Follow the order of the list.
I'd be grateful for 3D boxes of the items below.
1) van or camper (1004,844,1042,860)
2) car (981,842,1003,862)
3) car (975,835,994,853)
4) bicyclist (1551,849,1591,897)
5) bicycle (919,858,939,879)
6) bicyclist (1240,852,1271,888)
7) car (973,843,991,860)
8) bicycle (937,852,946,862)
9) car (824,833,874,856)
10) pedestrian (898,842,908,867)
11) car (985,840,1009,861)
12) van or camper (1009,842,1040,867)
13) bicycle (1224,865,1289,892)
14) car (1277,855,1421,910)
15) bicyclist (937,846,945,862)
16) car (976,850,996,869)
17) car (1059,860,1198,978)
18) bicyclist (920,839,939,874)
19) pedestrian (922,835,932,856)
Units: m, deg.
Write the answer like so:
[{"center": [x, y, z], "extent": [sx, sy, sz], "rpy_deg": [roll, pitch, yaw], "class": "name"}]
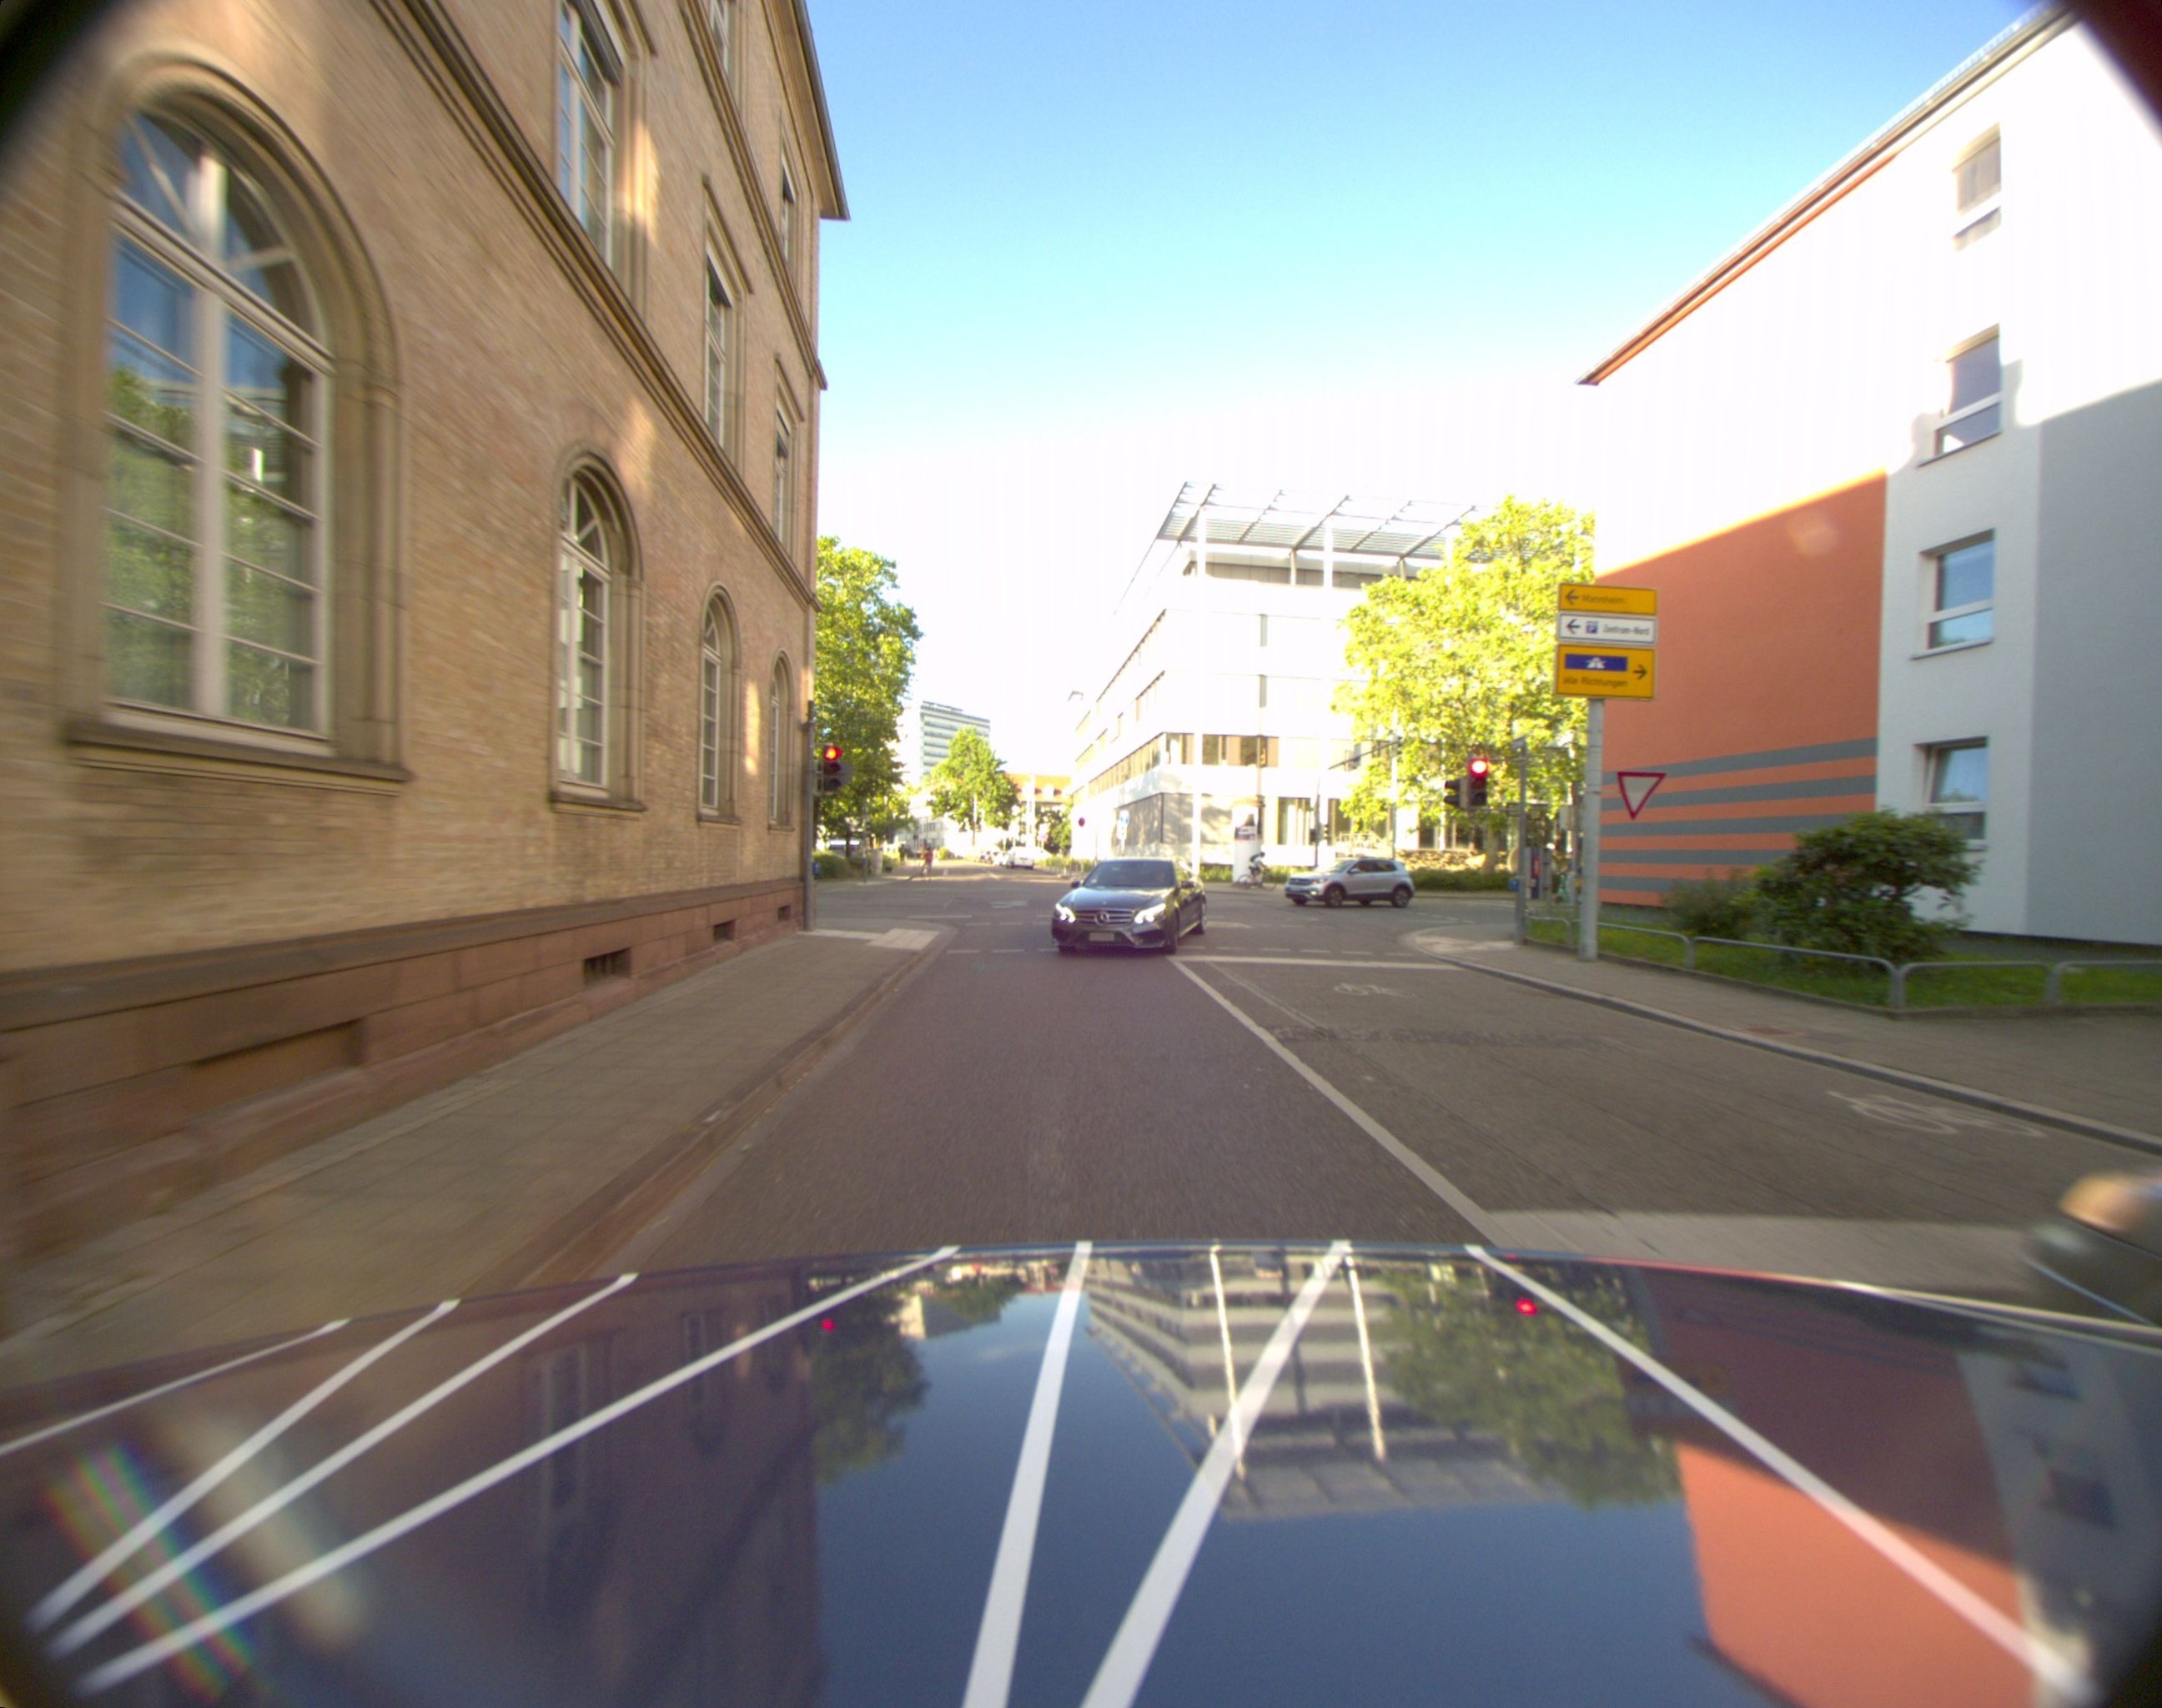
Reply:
[{"center": [-7.726, -0.298, 101.611], "extent": [4.737, 2.075, 1.996], "rpy_deg": [0, 1, -20], "class": "van or camper"}, {"center": [-9.278, -0.248, 78.841], "extent": [2.000, 2.002, 3.996], "rpy_deg": [0, 0, -11], "class": "car"}, {"center": [-11.478, -1.181, 90.505], "extent": [2.000, 2.002, 3.996], "rpy_deg": [0, 0, -11], "class": "car"}, {"center": [17.918, 0.697, 27.805], "extent": [0.901, 1.723, 0.770], "rpy_deg": [0, 1, -9], "class": "bicyclist"}, {"center": [-7.976, 0.765, 39.958], "extent": [0.943, 1.032, 3.003], "rpy_deg": [0, 0, -11], "class": "bicycle"}, {"center": [7.859, 0.710, 34.154], "extent": [1.123, 1.537, 0.955], "rpy_deg": [3, 2, 24], "class": "bicyclist"}, {"center": [-12.396, -0.255, 94.891], "extent": [2.000, 2.001, 3.997], "rpy_deg": [0, -1, -11], "class": "car"}, {"center": [-13.858, 0.275, 75.268], "extent": [0.762, 0.944, 3.054], "rpy_deg": [0, 0, -13], "class": "bicycle"}, {"center": [-22.538, -0.897, 73.898], "extent": [4.569, 2.101, 1.997], "rpy_deg": [0, 1, -14], "class": "car"}, {"center": [-13.228, 0.023, 56.488], "extent": [0.668, 1.844, 1.024], "rpy_deg": [0, 1, -19], "class": "pedestrian"}, {"center": [-8.212, -0.312, 74.270], "extent": [2.000, 2.002, 3.996], "rpy_deg": [0, 0, -11], "class": "car"}, {"center": [-4.823, -0.008, 64.471], "extent": [2.163, 2.002, 4.971], "rpy_deg": [1, 1, -10], "class": "van or camper"}, {"center": [7.870, 1.085, 34.139], "extent": [2.653, 1.046, 0.984], "rpy_deg": [2, 1, 23], "class": "bicycle"}, {"center": [8.291, 0.848, 23.537], "extent": [4.004, 1.594, 1.745], "rpy_deg": [1, 1, -20], "class": "car"}, {"center": [-13.849, -0.022, 75.315], "extent": [0.762, 1.583, 0.900], "rpy_deg": [0, 1, -13], "class": "bicyclist"}, {"center": [-10.597, 0.612, 84.583], "extent": [2.000, 2.002, 3.996], "rpy_deg": [0, 0, -11], "class": "car"}, {"center": [0.805, 0.883, 12.388], "extent": [1.798, 1.460, 4.720], "rpy_deg": [-2, 0, 4], "class": "car"}, {"center": [-7.922, 0.137, 39.787], "extent": [0.978, 1.797, 1.130], "rpy_deg": [0, 1, -10], "class": "bicyclist"}, {"center": [-24.442, -1.398, 120.396], "extent": [1.460, 3.289, 1.405], "rpy_deg": [0, 1, -10], "class": "pedestrian"}]
